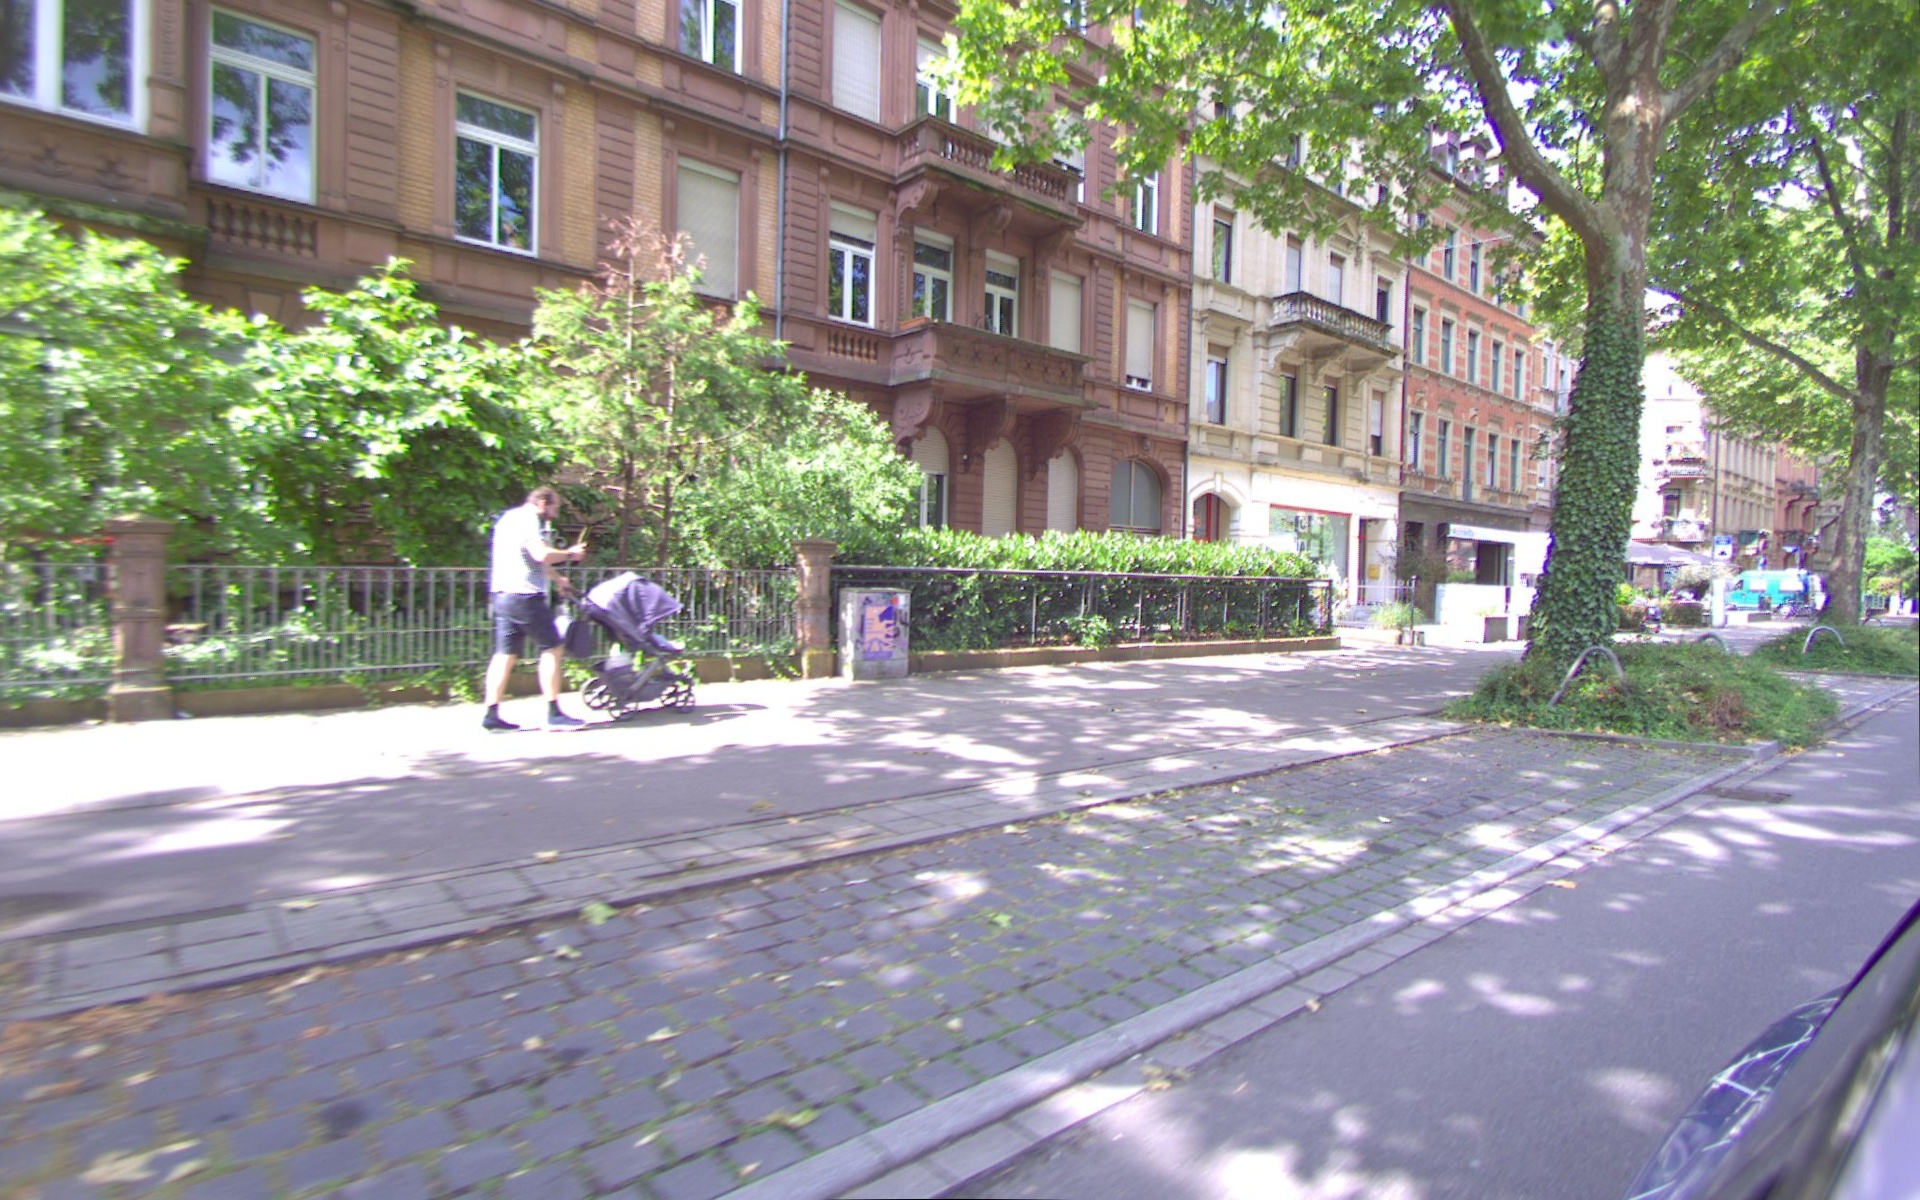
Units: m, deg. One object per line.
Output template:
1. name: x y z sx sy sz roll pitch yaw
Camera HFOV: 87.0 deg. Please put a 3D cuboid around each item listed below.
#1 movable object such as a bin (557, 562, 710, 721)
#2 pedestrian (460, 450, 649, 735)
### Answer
1. movable object such as a bin: -2.746 0.316 8.556 0.607 1.224 1.042 5 4 44
2. pedestrian: -3.150 -0.083 7.882 0.764 2.038 1.102 6 4 45
